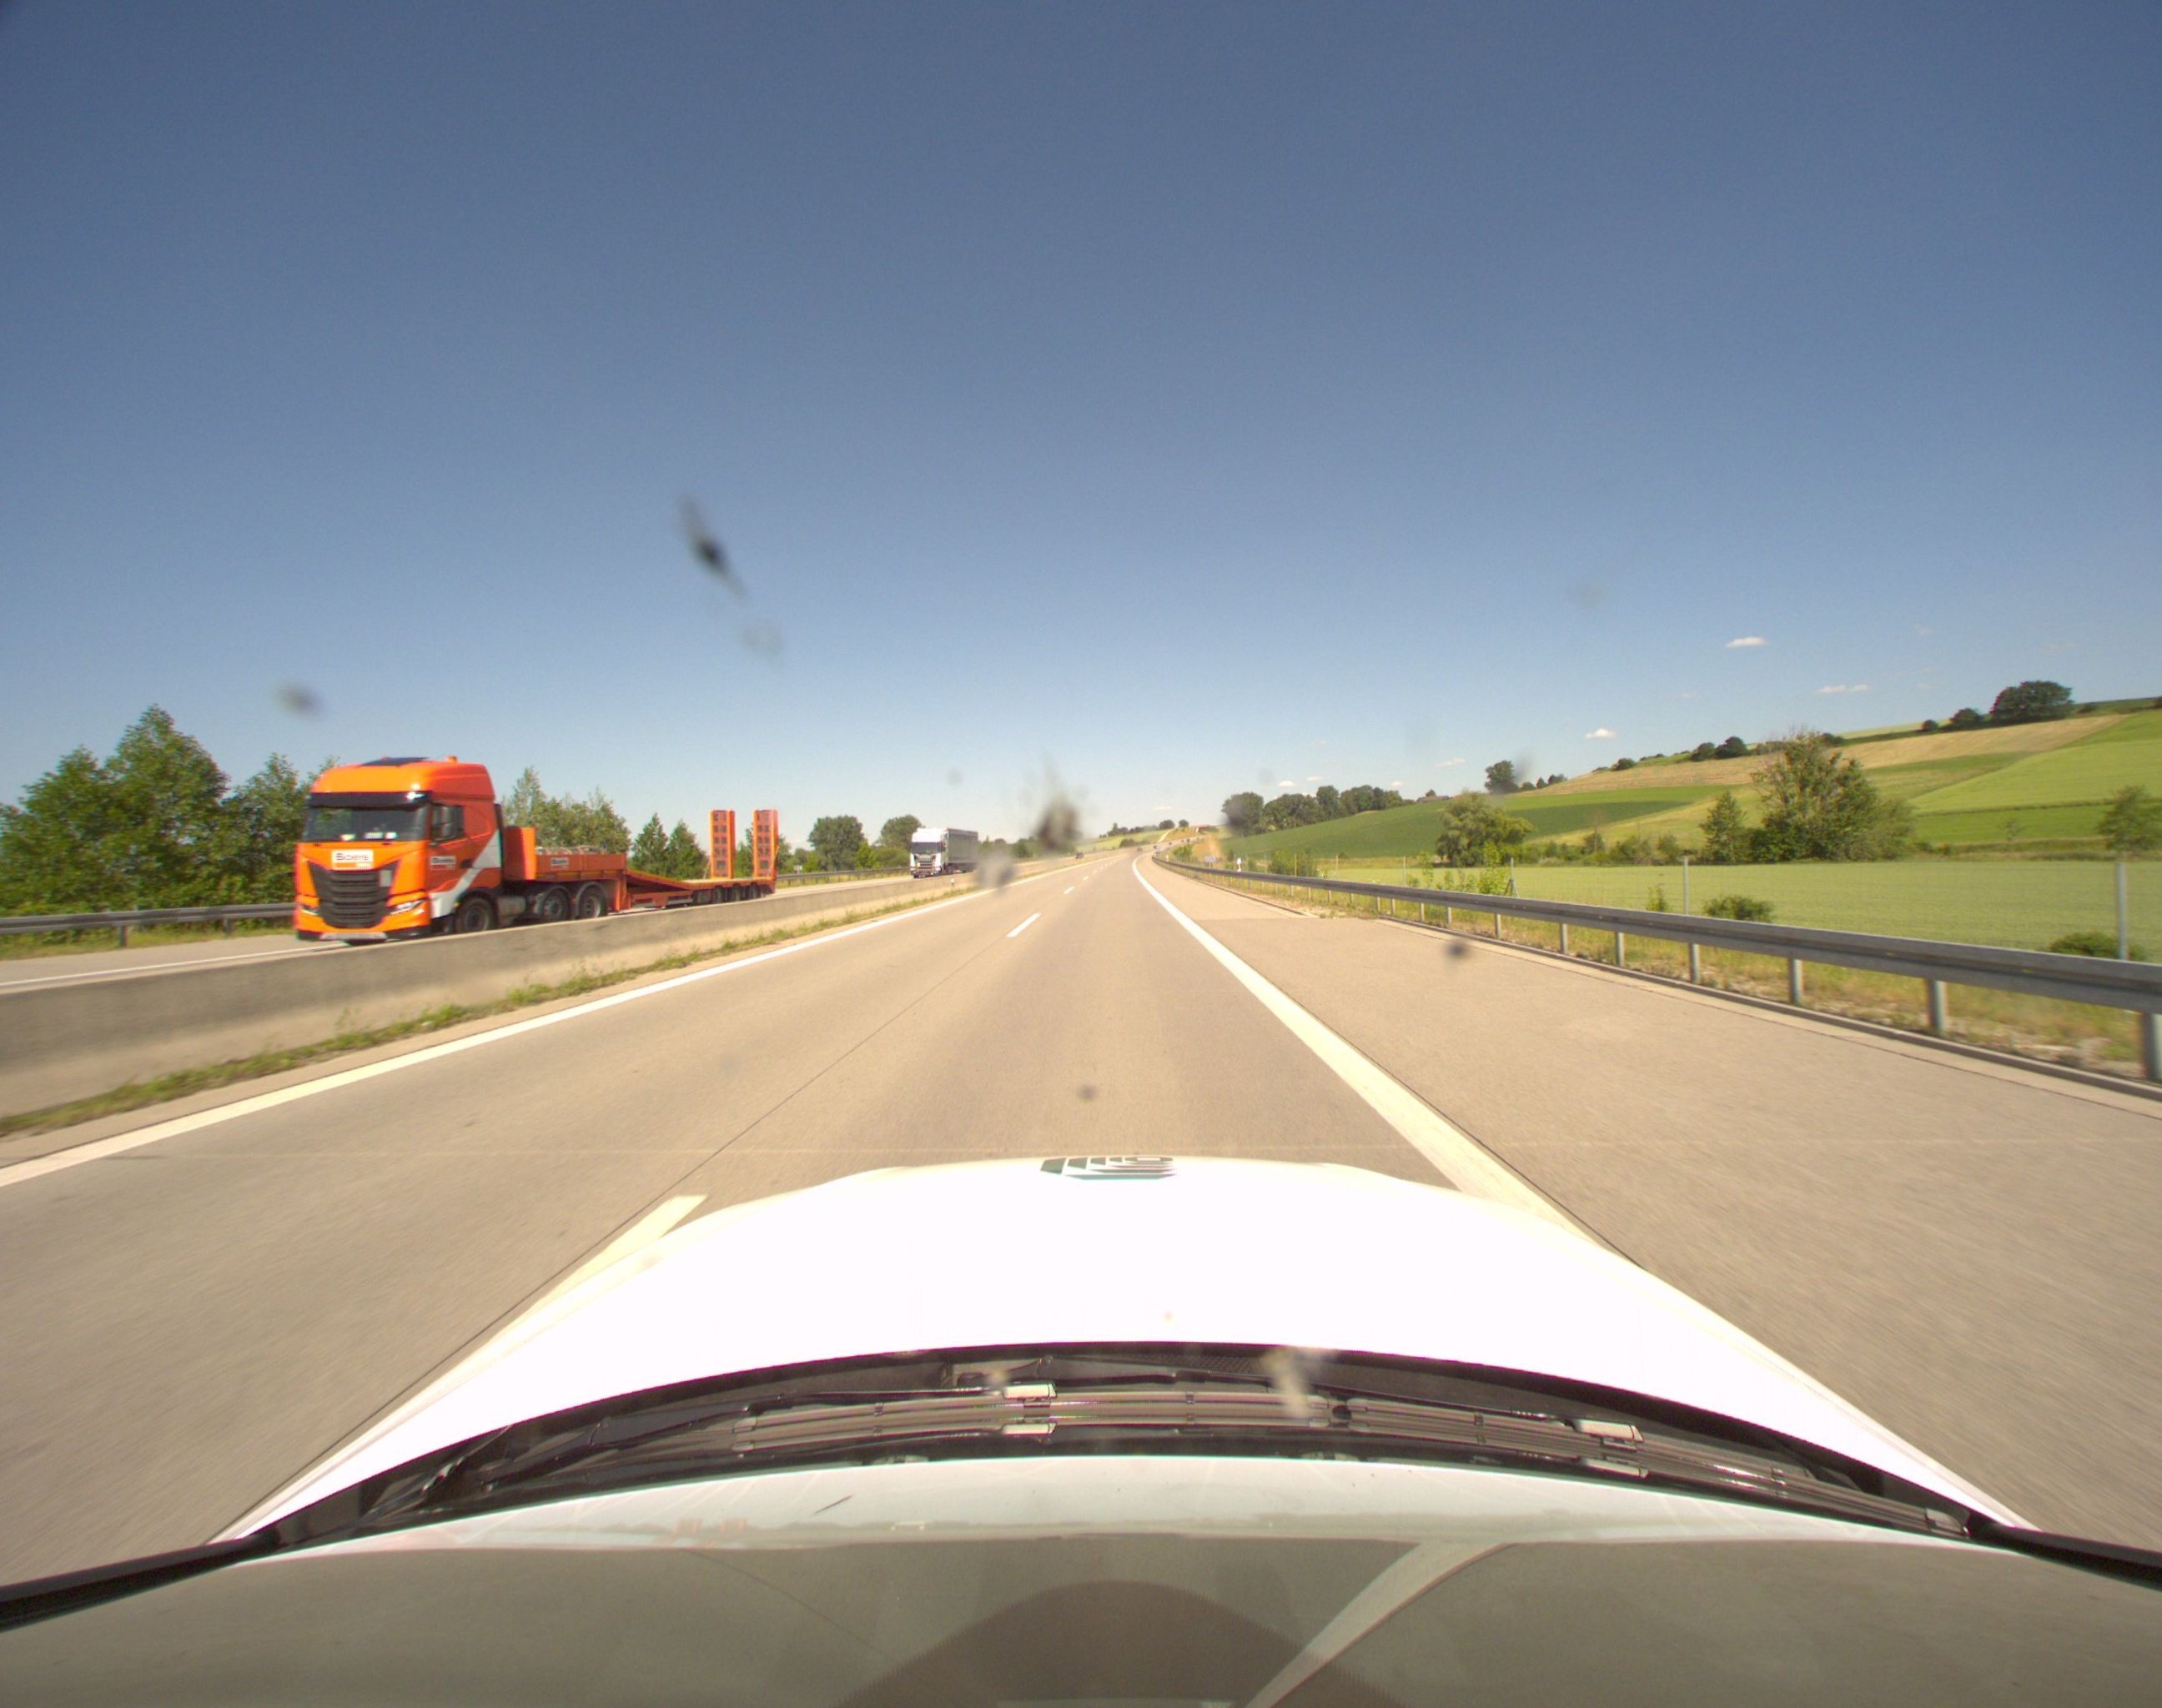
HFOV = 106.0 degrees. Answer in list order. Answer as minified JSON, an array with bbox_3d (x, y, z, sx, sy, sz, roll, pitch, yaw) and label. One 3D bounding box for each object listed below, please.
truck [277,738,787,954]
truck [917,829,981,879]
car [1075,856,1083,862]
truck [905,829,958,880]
[{"bbox_3d":[-13.472,-0.102,23.940,2.857,4.015,17.122,-1,0,2],"label":"truck"},{"bbox_3d":[-11.686,0.036,73.861,2.848,4.008,13.877,-2,0,3],"label":"truck"},{"bbox_3d":[-0.403,1.217,194.058,1.704,1.589,4.630,0,-1,2],"label":"car"},{"bbox_3d":[-12.030,0.046,66.142,2.849,3.873,5.987,-2,0,3],"label":"truck"}]
